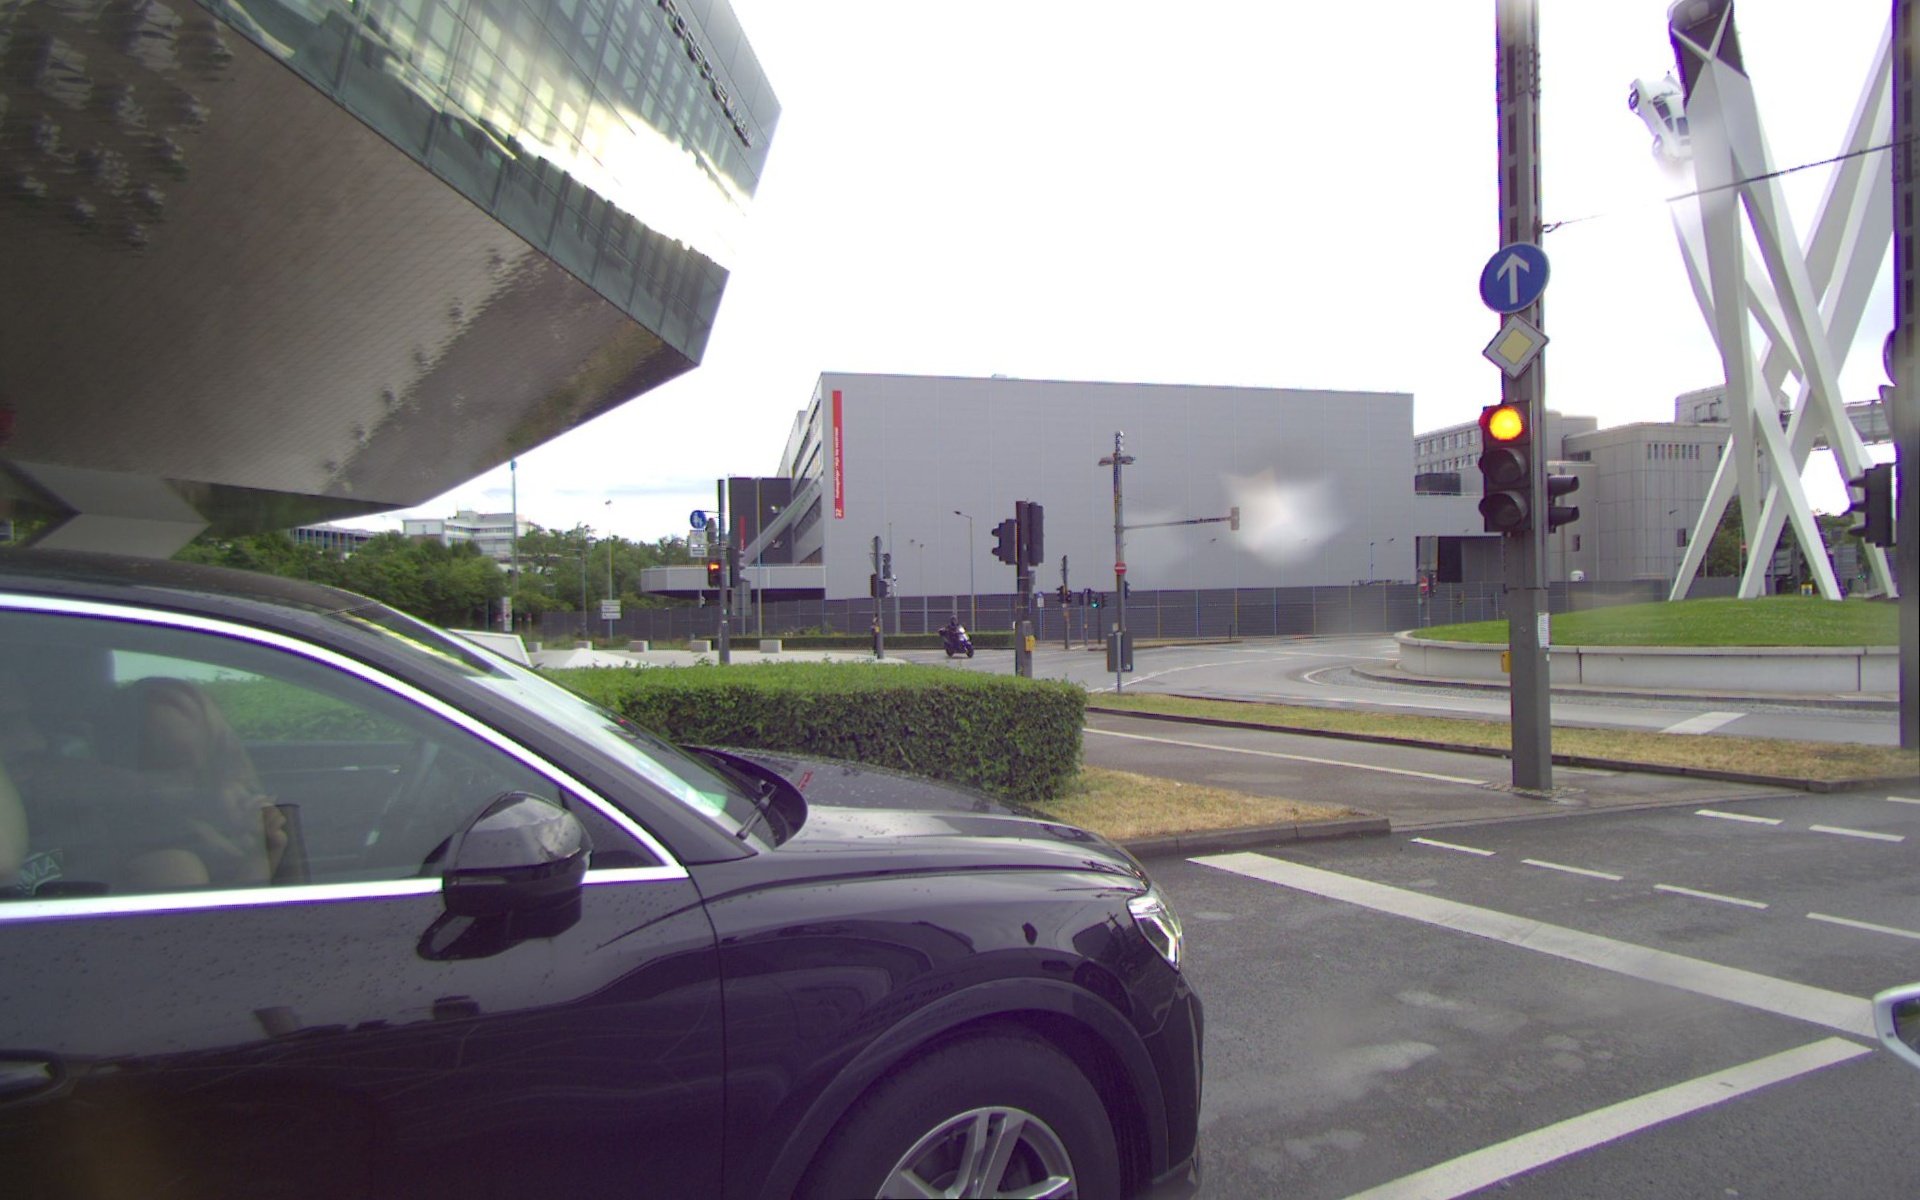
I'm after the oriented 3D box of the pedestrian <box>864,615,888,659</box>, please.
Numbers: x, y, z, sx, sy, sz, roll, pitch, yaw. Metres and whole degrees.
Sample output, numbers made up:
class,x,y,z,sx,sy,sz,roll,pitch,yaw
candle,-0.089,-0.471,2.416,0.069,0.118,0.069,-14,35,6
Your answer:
class,x,y,z,sx,sy,sz,roll,pitch,yaw
pedestrian,-3.589,1.563,42.894,0.638,1.827,0.851,0,0,35

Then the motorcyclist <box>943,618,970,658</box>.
class,x,y,z,sx,sy,sz,roll,pitch,yaw
motorcyclist,-0.151,1.573,41.982,0.665,1.644,1.023,0,-1,-39

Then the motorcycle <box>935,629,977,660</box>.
class,x,y,z,sx,sy,sz,roll,pitch,yaw
motorcycle,-0.186,1.845,42.002,0.447,1.208,2.240,0,-1,-40

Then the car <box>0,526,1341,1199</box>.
class,x,y,z,sx,sy,sz,roll,pitch,yaw
car,-1.494,0.686,1.790,4.344,1.538,1.743,2,0,-31
